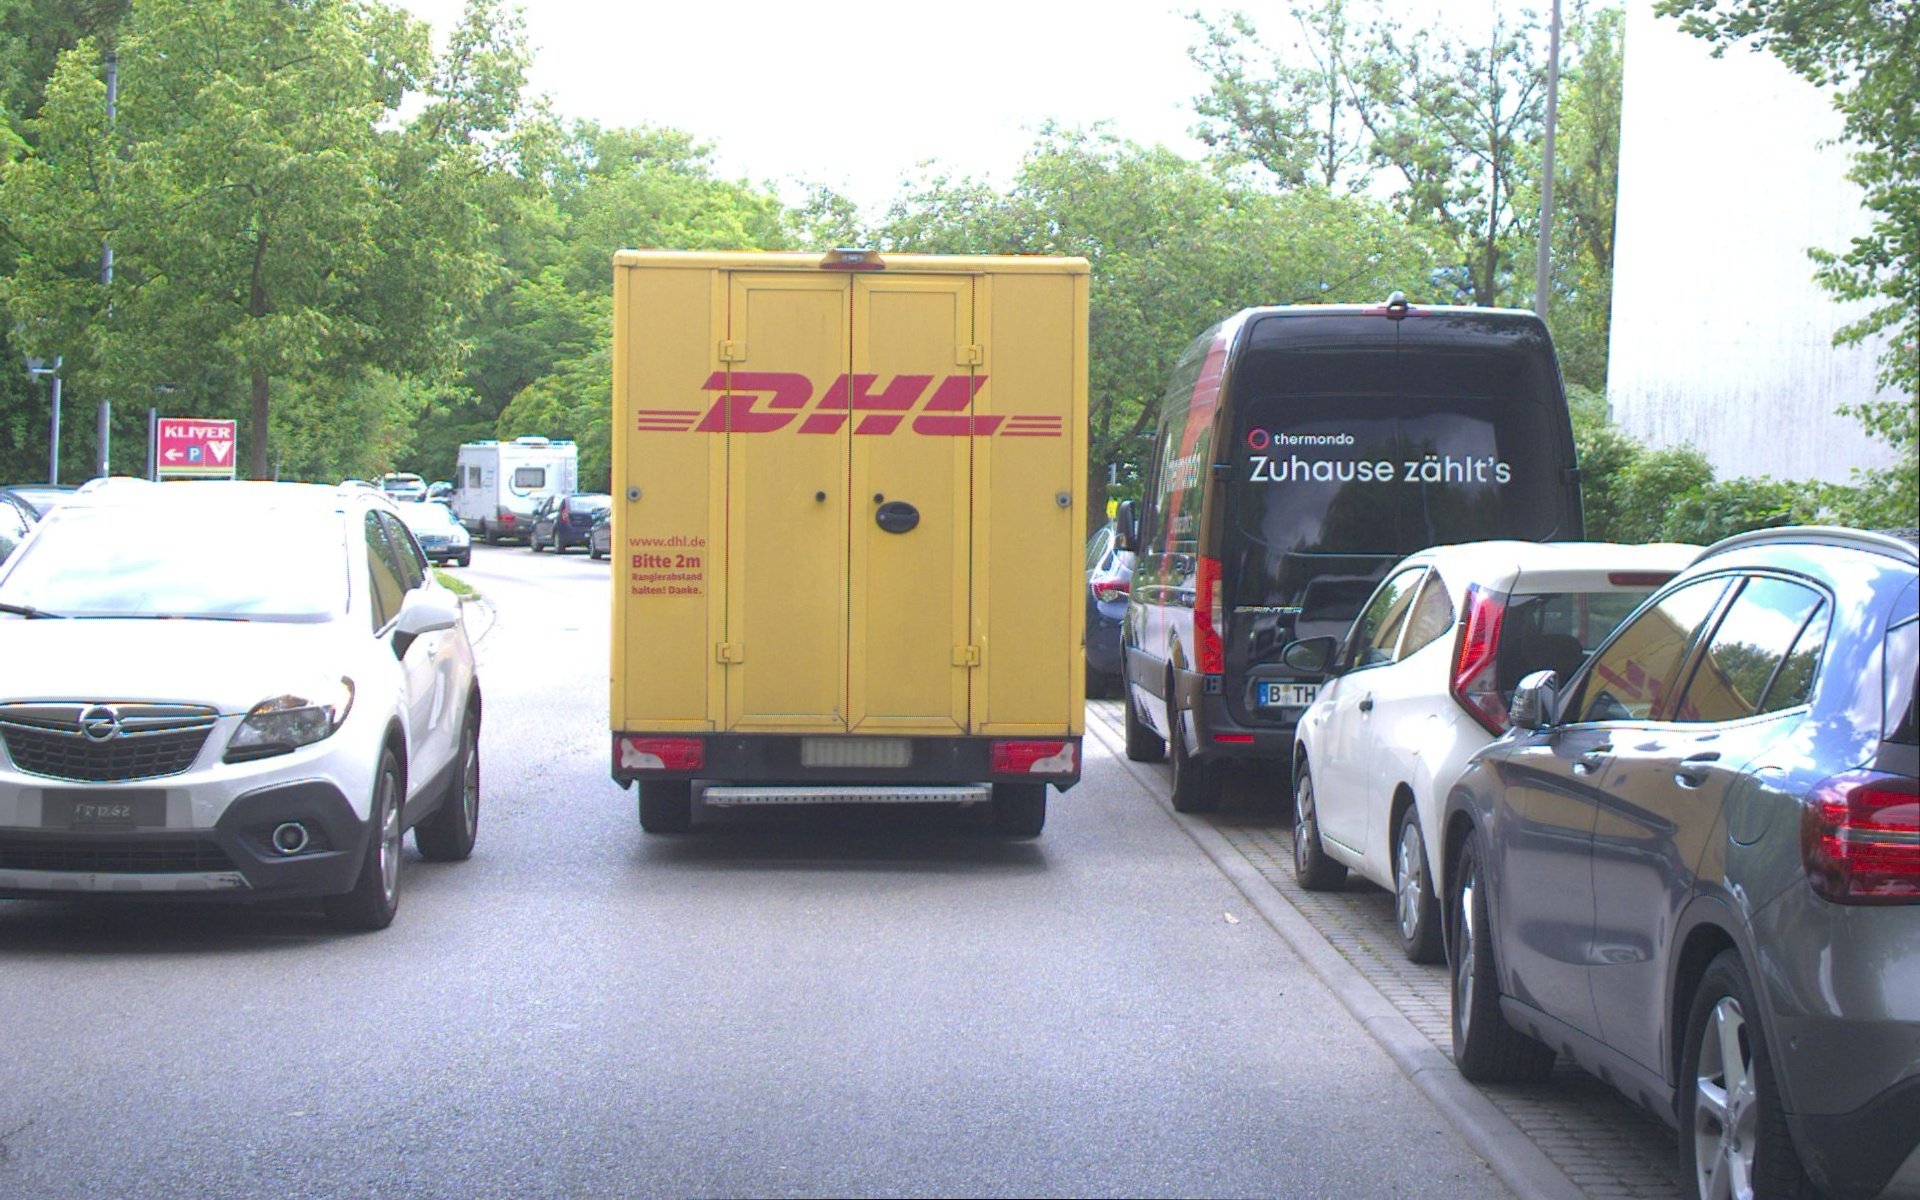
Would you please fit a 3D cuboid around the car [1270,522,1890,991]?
[{"bbox_3d":[2.196,0.483,13.004,1.562,1.491,3.332,1,2,-3],"label":"car"}]

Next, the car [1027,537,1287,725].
[{"bbox_3d":[1.621,0.218,29.600,1.728,1.428,3.969,3,1,-3],"label":"car"}]

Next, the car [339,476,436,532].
[{"bbox_3d":[-17.861,-3.008,107.115,1.843,1.524,4.001,1,3,-27],"label":"car"}]

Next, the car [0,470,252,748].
[{"bbox_3d":[-5.296,0.002,20.479,1.528,1.501,2.713,3,2,0],"label":"car"}]

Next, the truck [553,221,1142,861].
[{"bbox_3d":[-0.633,-0.350,18.127,2.466,2.693,6.826,1,2,-3],"label":"truck"}]

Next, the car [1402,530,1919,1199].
[{"bbox_3d":[2.189,0.621,7.788,1.699,1.491,4.119,1,1,-2],"label":"car"}]

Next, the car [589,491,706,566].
[{"bbox_3d":[-7.381,-1.705,80.955,1.843,1.524,4.002,2,3,-18],"label":"car"}]

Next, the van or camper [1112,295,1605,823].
[{"bbox_3d":[2.023,-0.254,19.131,1.993,2.514,5.471,0,1,-1],"label":"van or camper"}]

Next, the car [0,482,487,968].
[{"bbox_3d":[-2.981,0.353,13.567,1.747,1.605,4.053,1,2,-1],"label":"car"}]

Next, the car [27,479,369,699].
[{"bbox_3d":[-5.575,-0.130,25.595,1.674,1.431,3.970,3,2,-1],"label":"car"}]

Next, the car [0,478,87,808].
[{"bbox_3d":[-5.456,0.203,16.078,1.884,1.553,3.838,0,2,-2],"label":"car"}]

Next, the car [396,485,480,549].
[{"bbox_3d":[-11.959,-1.932,78.964,1.674,1.350,3.970,3,2,-6],"label":"car"}]

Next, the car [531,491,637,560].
[{"bbox_3d":[-9.663,-1.929,88.083,1.843,1.524,4.002,2,3,-18],"label":"car"}]

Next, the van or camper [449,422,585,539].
[{"bbox_3d":[-12.242,-3.332,94.741,2.323,2.861,5.263,2,4,-22],"label":"van or camper"}]
